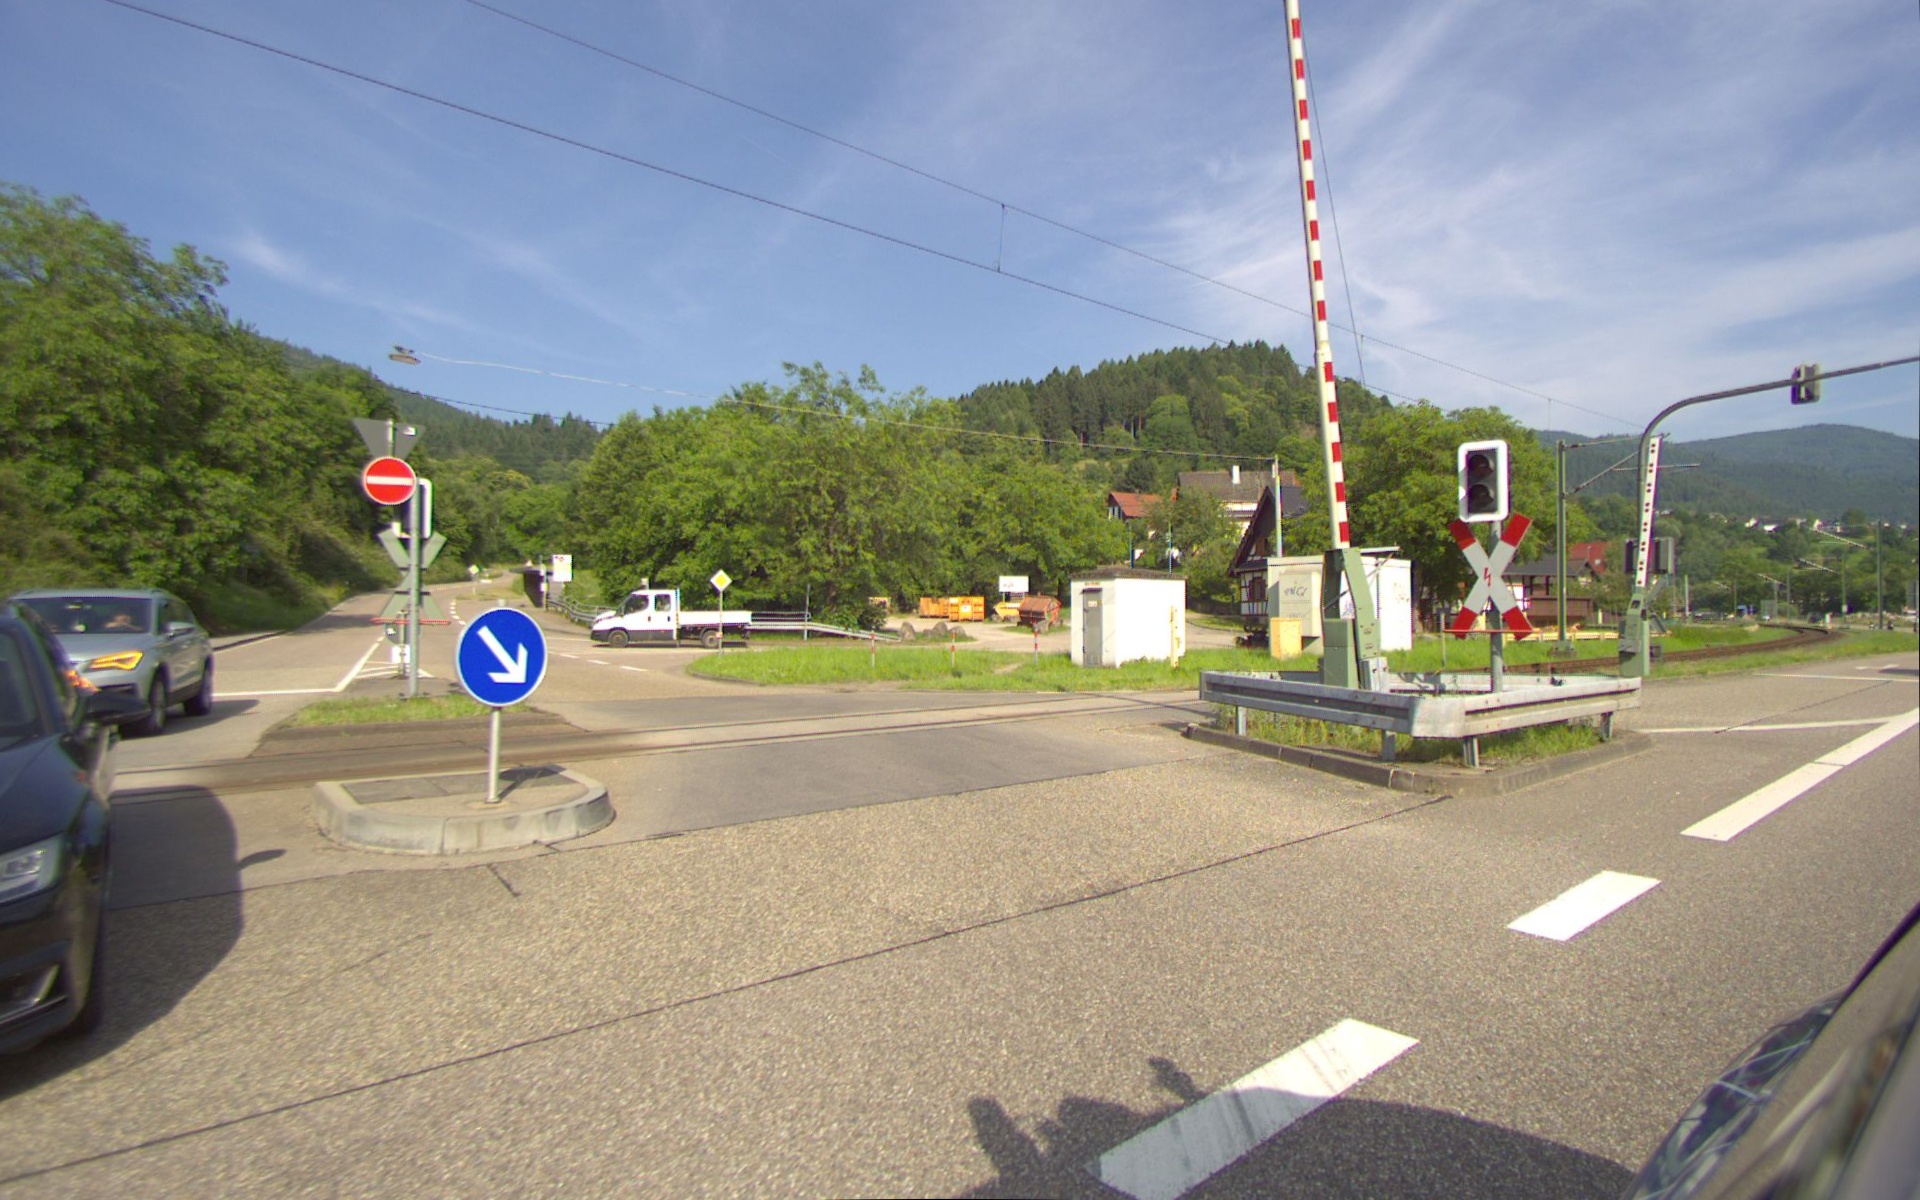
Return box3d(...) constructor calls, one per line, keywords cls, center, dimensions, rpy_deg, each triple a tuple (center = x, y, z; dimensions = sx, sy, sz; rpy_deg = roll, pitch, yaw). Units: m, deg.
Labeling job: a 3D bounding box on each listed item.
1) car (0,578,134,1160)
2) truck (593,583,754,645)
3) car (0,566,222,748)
box3d(cls="car", center=(-4.488, 0.654, 3.998), dimensions=(1.808, 1.488, 4.738), rpy_deg=(0, 1, -38))
box3d(cls="truck", center=(-10.984, 0.470, 39.058), dimensions=(5.812, 2.260, 2.413), rpy_deg=(0, 1, -16))
box3d(cls="car", center=(-9.800, 0.582, 11.409), dimensions=(1.797, 1.708, 4.130), rpy_deg=(1, -2, -28))
